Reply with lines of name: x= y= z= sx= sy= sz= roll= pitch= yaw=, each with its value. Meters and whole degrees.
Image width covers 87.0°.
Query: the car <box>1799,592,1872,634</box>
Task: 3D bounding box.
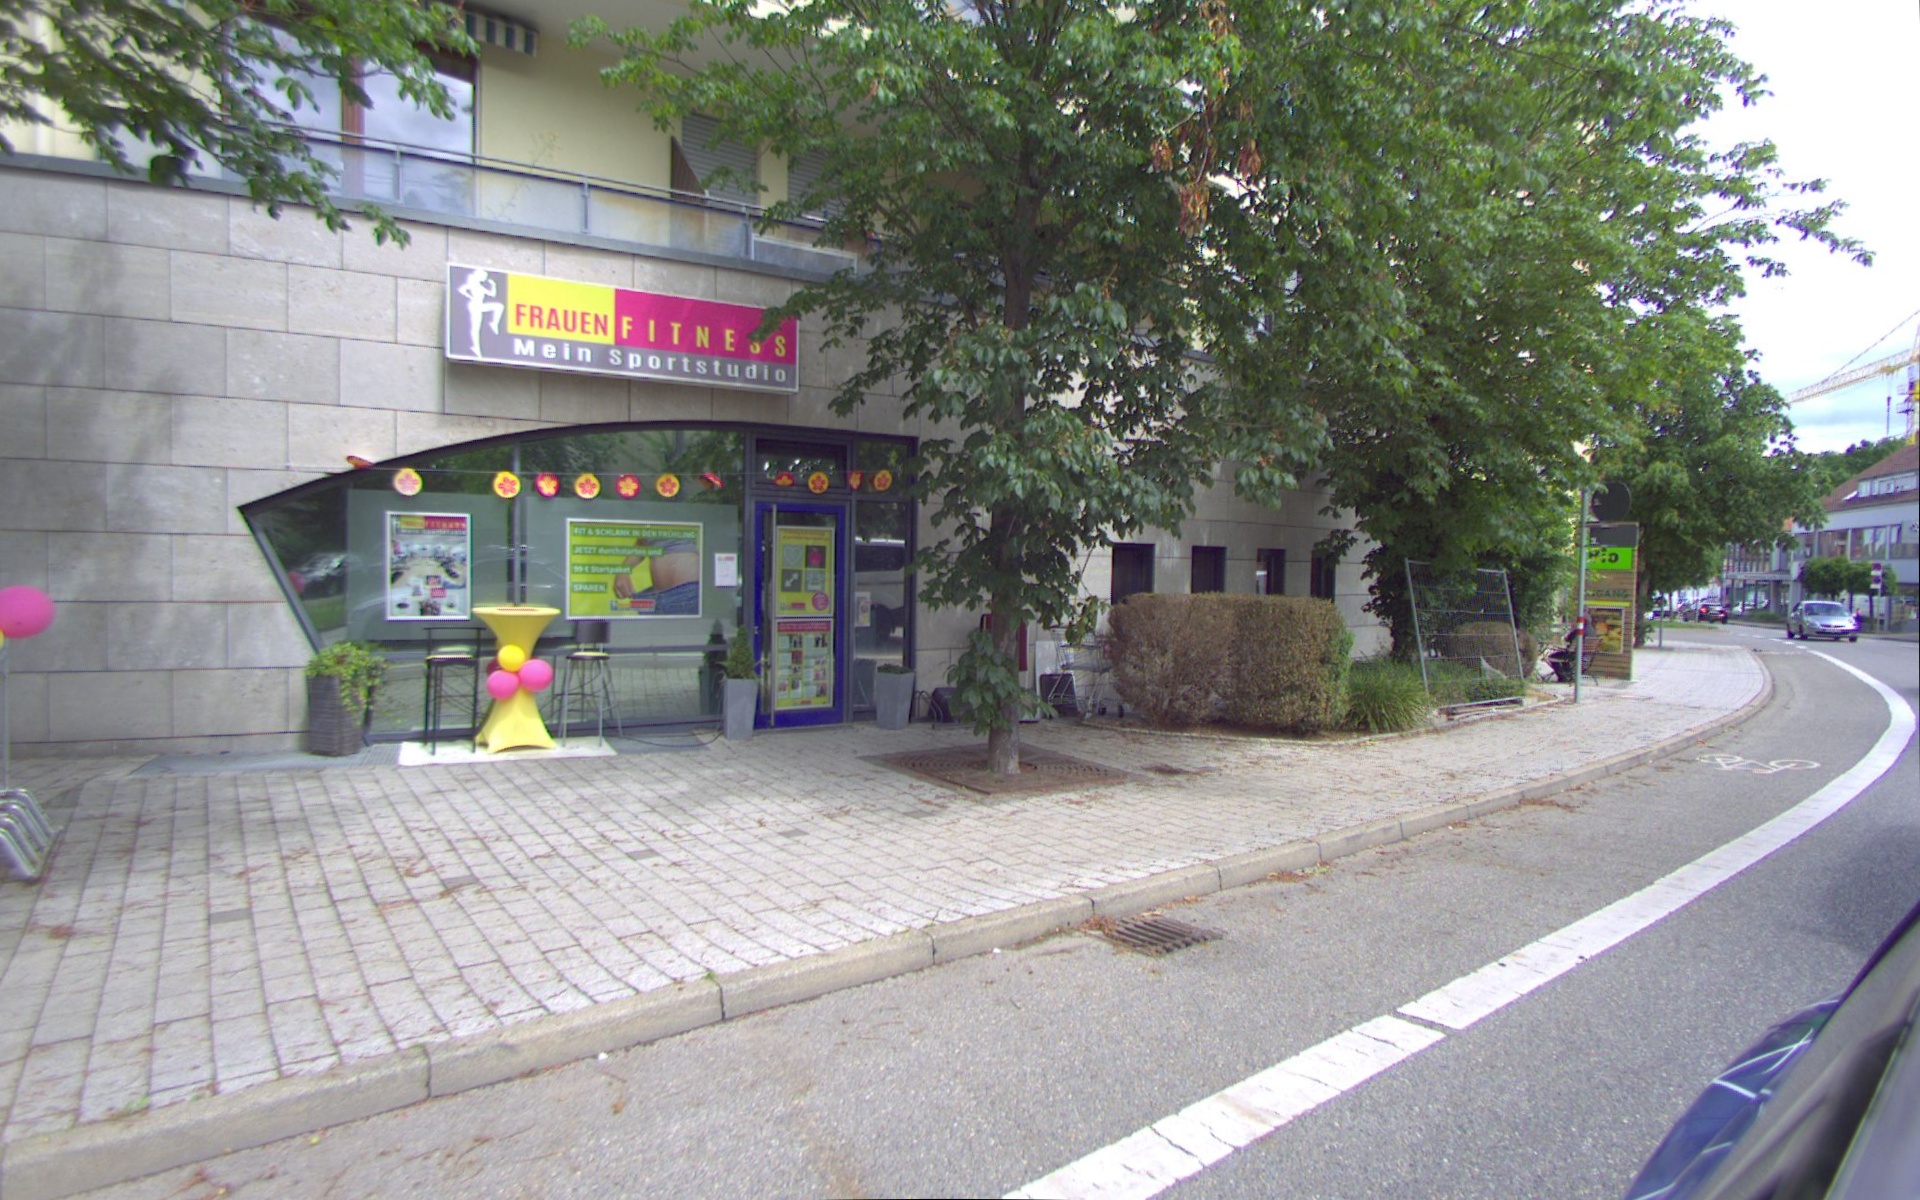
car: x=33.631 y=0.460 z=38.953 sx=1.683 sy=1.505 sz=3.950 roll=-1 pitch=0 yaw=35

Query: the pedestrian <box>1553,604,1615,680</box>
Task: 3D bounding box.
pedestrian: x=11.366 y=0.742 z=18.435 sx=0.741 sy=1.317 sz=0.730 roll=0 pitch=2 yaw=-41

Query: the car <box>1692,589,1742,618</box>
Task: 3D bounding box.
car: x=51.983 y=0.224 z=69.556 sx=1.722 sy=1.874 sz=3.970 roll=2 pitch=2 yaw=23
